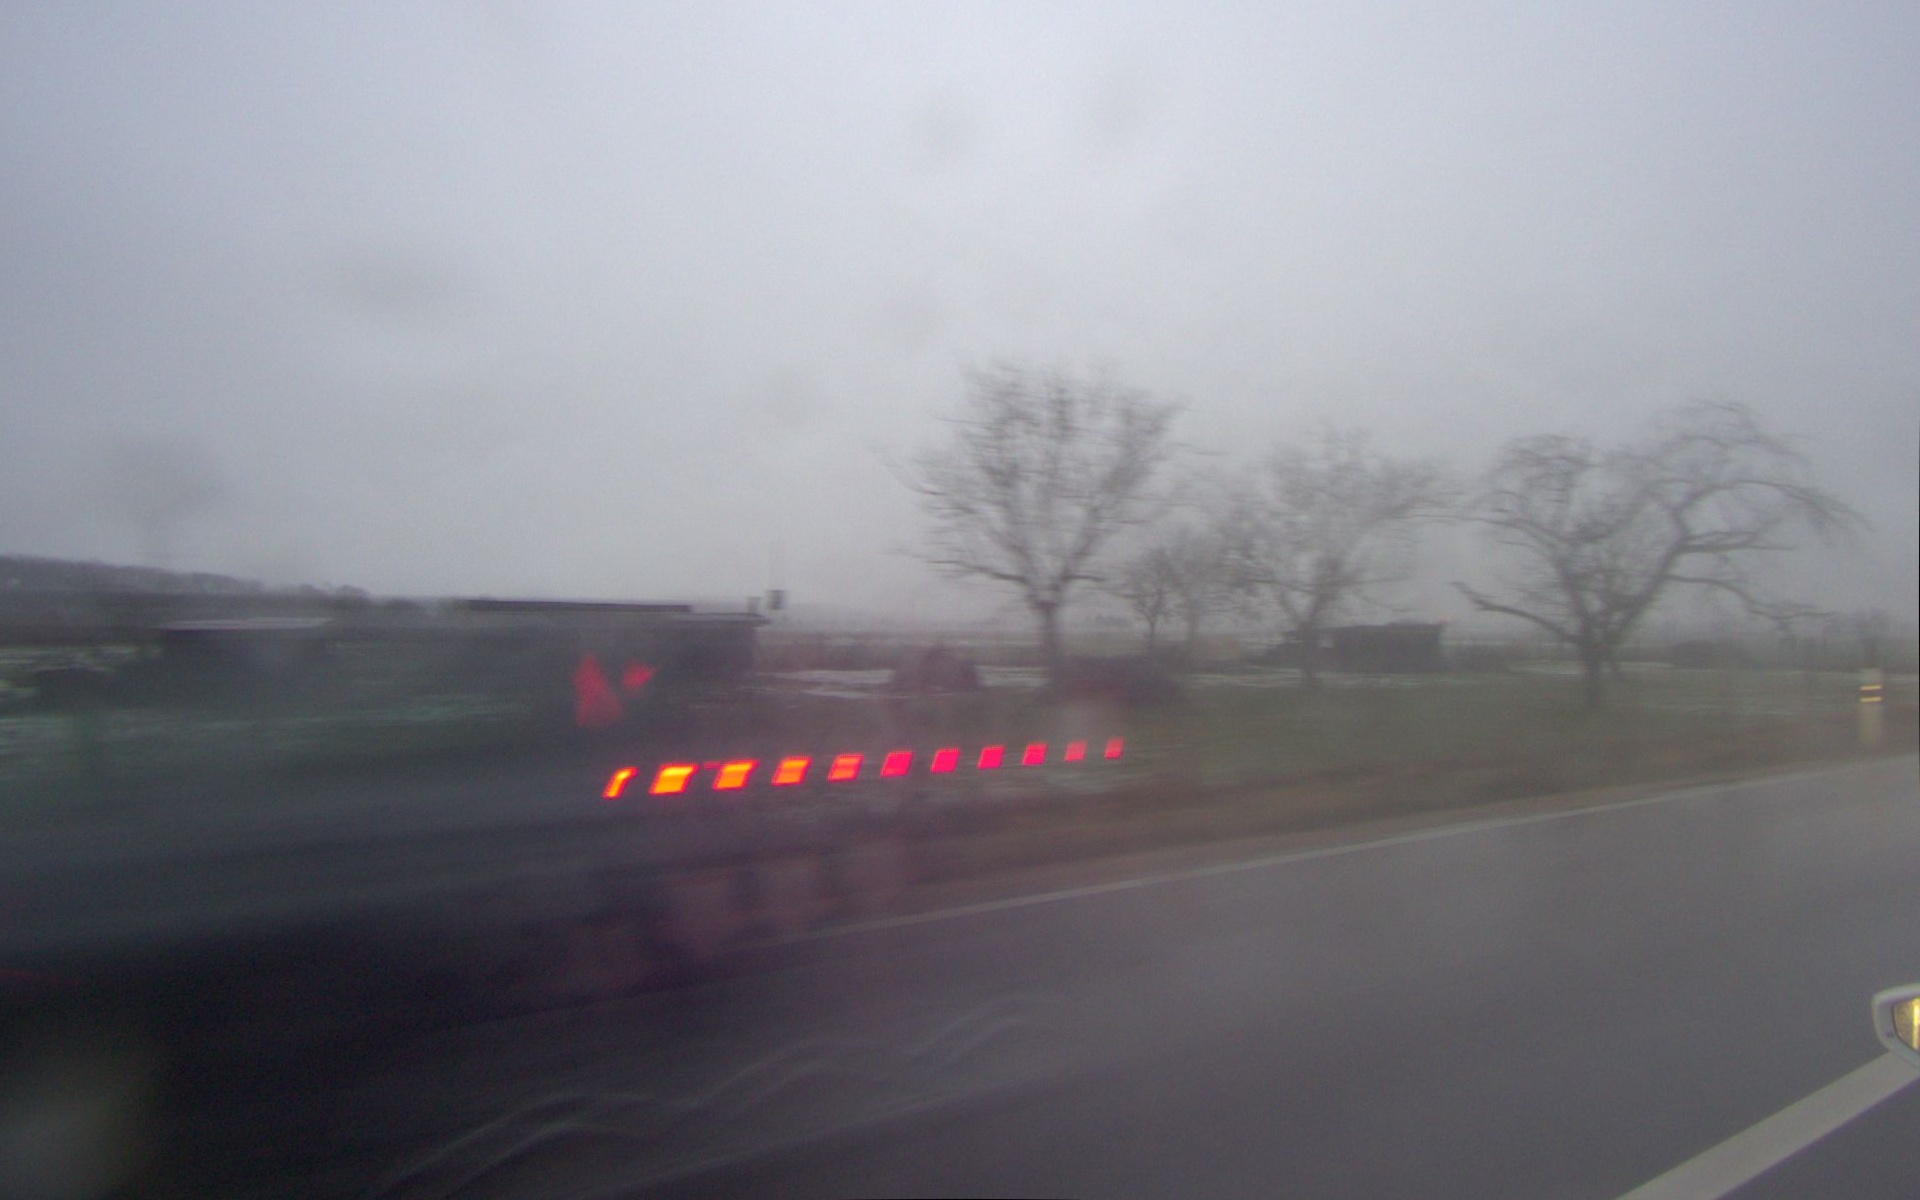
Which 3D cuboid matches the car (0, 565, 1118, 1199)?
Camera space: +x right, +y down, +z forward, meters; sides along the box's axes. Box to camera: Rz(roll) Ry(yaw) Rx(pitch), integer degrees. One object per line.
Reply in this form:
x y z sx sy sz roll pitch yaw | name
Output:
-1.632 0.760 2.979 3.953 1.576 1.753 1 -2 -31 | car
